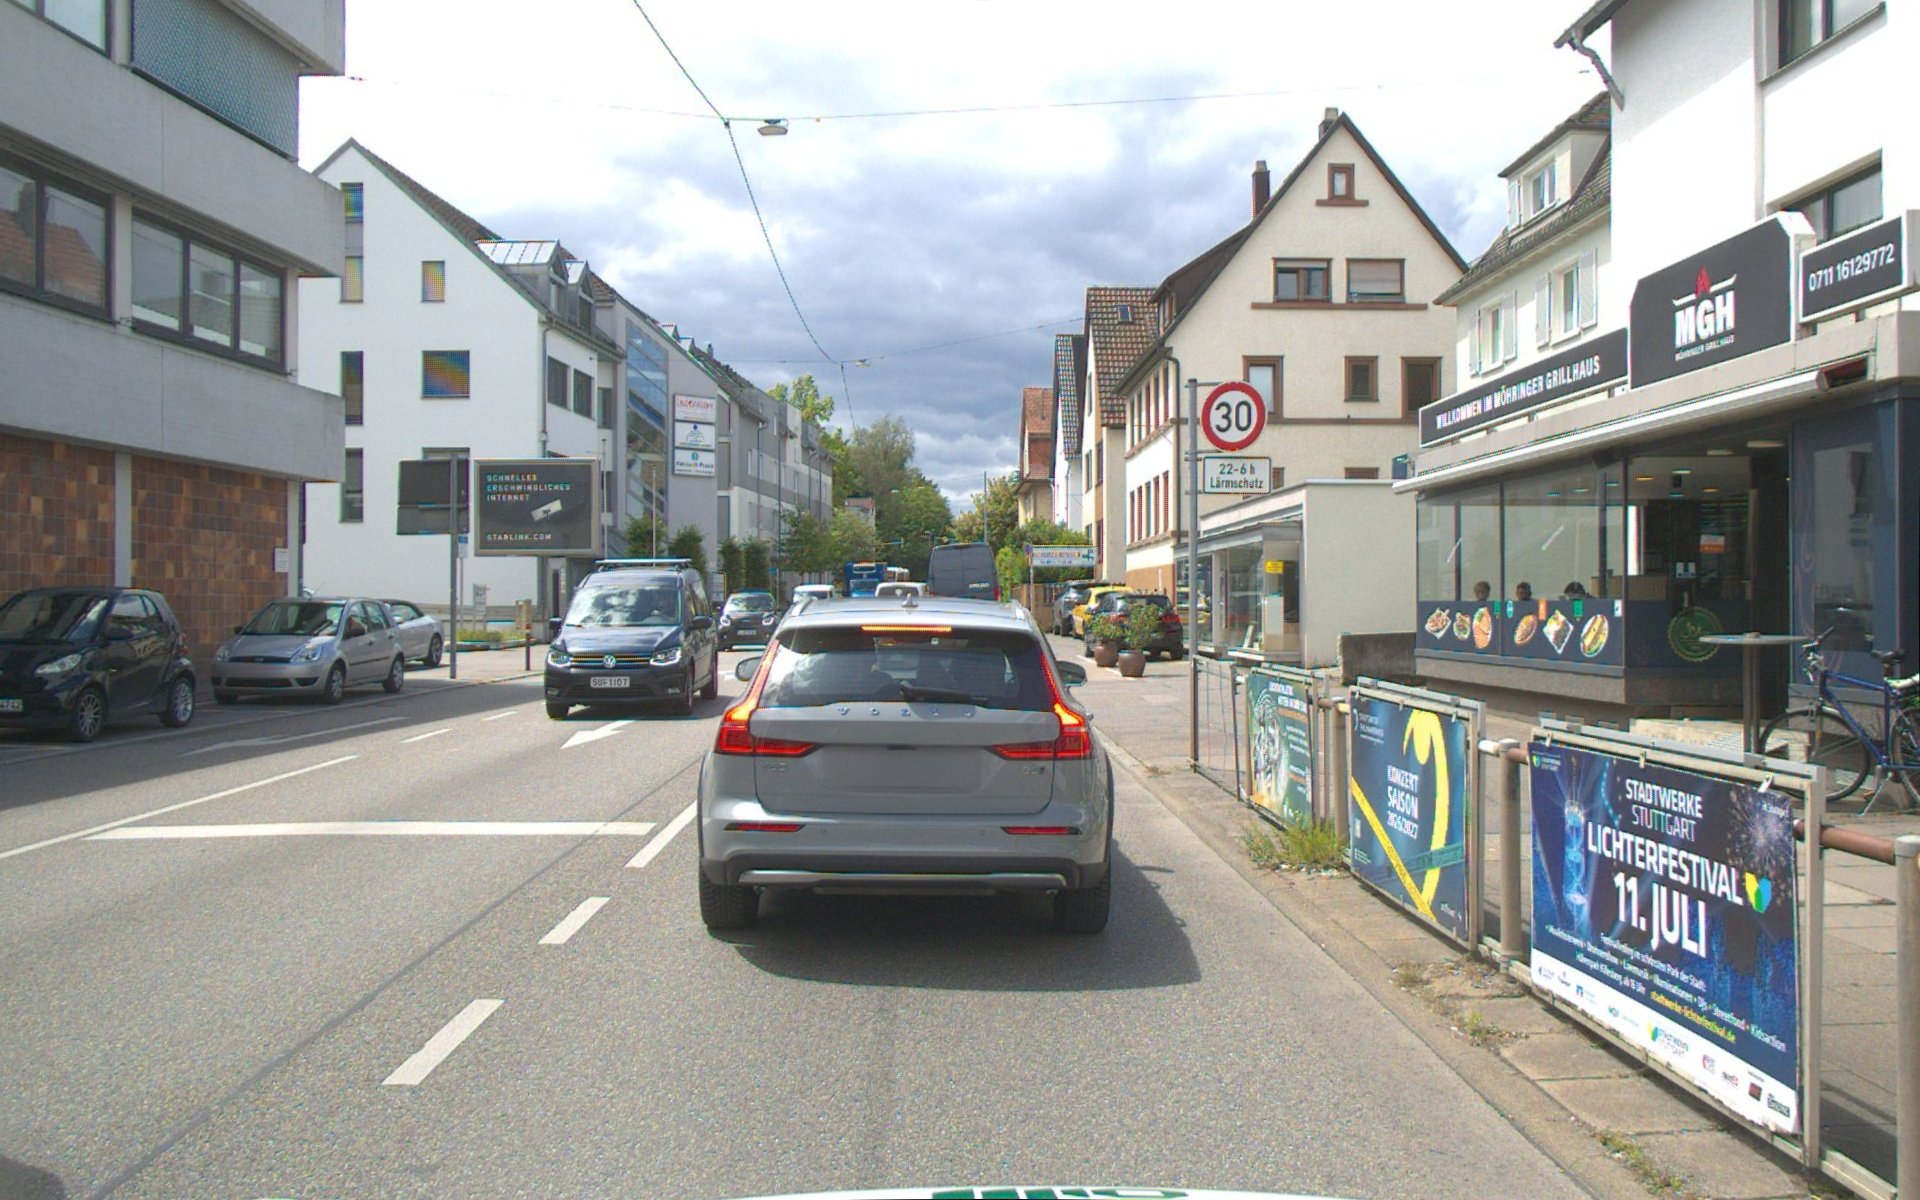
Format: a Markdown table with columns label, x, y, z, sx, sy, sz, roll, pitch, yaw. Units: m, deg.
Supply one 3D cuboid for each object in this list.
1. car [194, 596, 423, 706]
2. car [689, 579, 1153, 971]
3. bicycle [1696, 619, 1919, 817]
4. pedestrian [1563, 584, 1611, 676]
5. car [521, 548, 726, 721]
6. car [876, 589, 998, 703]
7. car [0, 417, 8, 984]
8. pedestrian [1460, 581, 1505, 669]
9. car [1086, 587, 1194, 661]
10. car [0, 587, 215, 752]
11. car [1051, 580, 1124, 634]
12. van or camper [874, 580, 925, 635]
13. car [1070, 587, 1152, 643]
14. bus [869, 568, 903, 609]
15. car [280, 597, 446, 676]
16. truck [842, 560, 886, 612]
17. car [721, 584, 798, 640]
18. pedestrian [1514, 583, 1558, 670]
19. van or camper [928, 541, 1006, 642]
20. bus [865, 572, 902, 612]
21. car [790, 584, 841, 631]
| label | x | y | z | sx | sy | sz | roll | pitch | yaw |
| --- | --- | --- | --- | --- | --- | --- | --- | --- | --- |
| car | -9.332 | 0.679 | 24.033 | 1.719 | 1.451 | 3.863 | 0 | 0 | 1 |
| car | -0.208 | 0.674 | 8.424 | 1.799 | 1.512 | 3.998 | 0 | 0 | -2 |
| bicycle | 5.852 | 0.727 | 10.737 | 0.546 | 1.164 | 2.287 | -1 | 0 | -19 |
| pedestrian | 7.338 | 0.347 | 19.373 | 0.406 | 1.070 | 0.367 | -1 | 0 | -3 |
| car | -4.180 | 0.402 | 21.252 | 1.801 | 1.951 | 4.529 | -1 | 0 | -2 |
| car | -0.358 | 0.616 | 23.765 | 1.617 | 1.508 | 3.606 | 1 | 0 | -2 |
| car | -3.443 | 0.466 | 2.387 | 1.801 | 1.951 | 4.154 | 1 | 0 | -2 |
| pedestrian | 6.393 | 0.301 | 20.243 | 0.406 | 1.070 | 0.367 | -1 | 0 | -3 |
| car | 3.829 | 0.526 | 35.741 | 1.676 | 1.490 | 3.997 | 1 | -1 | -3 |
| car | -9.437 | 0.672 | 17.703 | 1.575 | 1.570 | 2.944 | 1 | 1 | -1 |
| car | 3.750 | 0.252 | 49.138 | 1.844 | 1.526 | 3.970 | 0 | -1 | 0 |
| van or camper | -2.154 | 0.296 | 59.173 | 1.782 | 1.867 | 3.998 | 0 | -2 | -2 |
| car | 4.039 | 0.430 | 44.808 | 1.844 | 1.440 | 3.970 | 0 | -1 | 0 |
| bus | -5.499 | -0.861 | 123.706 | 2.229 | 2.952 | 7.078 | -1 | 0 | 0 |
| car | -11.663 | 0.671 | 32.577 | 1.867 | 1.422 | 3.841 | -1 | 0 | 0 |
| truck | -5.697 | -0.830 | 98.977 | 2.229 | 2.937 | 7.078 | -1 | 0 | 0 |
| car | -5.460 | 0.294 | 45.498 | 1.727 | 1.451 | 3.999 | -1 | 0 | -2 |
| pedestrian | 7.203 | 0.326 | 20.682 | 0.406 | 1.070 | 0.367 | -1 | 0 | -3 |
| van or camper | 0.184 | -0.247 | 47.308 | 2.080 | 2.733 | 4.780 | -1 | 0 | -1 |
| bus | -5.284 | -0.569 | 115.529 | 2.229 | 2.715 | 7.428 | -1 | 0 | 0 |
| car | -5.863 | 0.325 | 67.538 | 1.761 | 1.848 | 3.999 | 0 | -1 | -1 |
